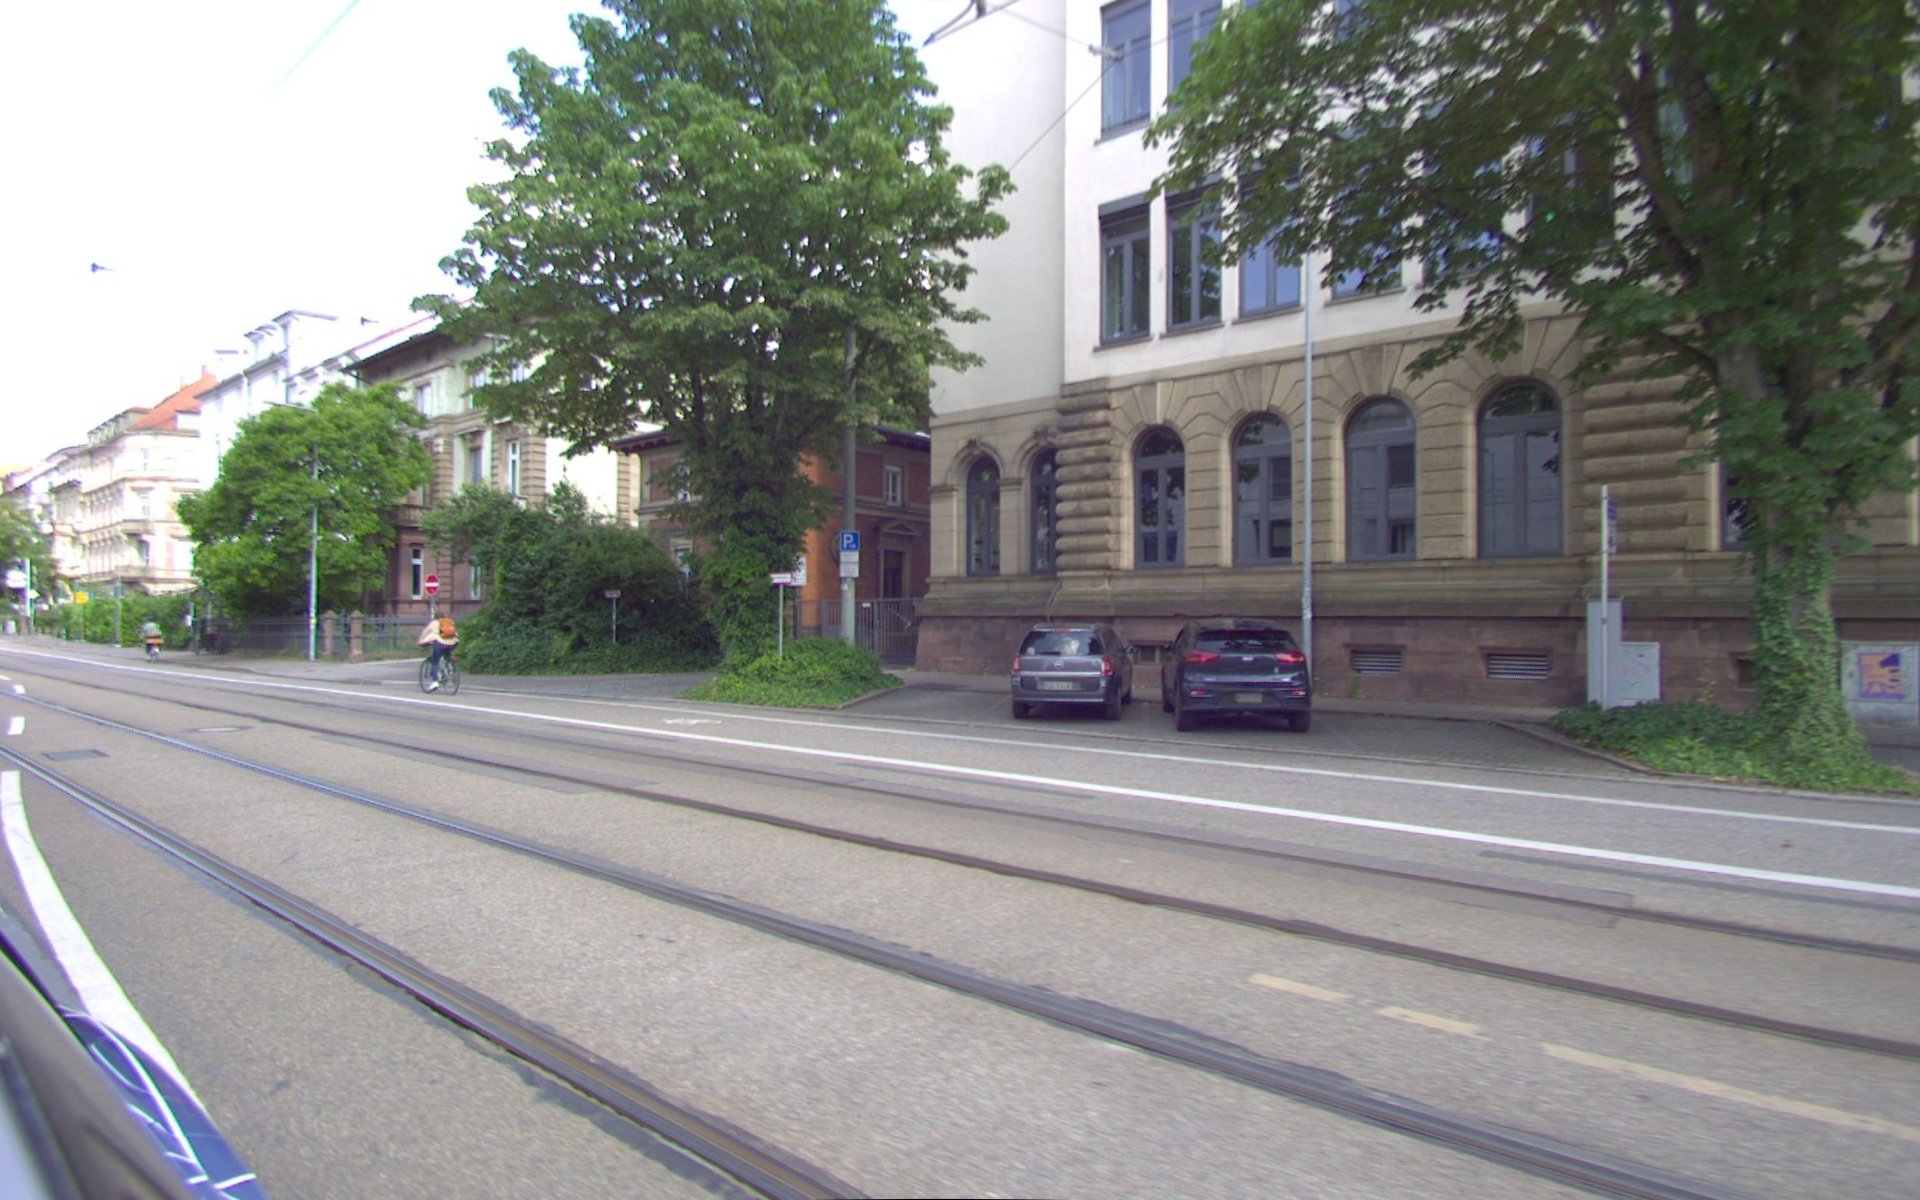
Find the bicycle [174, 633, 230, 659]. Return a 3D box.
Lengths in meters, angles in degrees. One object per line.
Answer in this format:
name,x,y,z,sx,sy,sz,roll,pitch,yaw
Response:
bicycle,-30.830,1.862,41.161,2.986,0.915,1.131,-1,1,40

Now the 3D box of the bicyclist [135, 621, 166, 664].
bicyclist,-29.708,1.566,37.133,0.882,1.504,0.593,-2,-8,42

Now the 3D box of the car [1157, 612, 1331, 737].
car,4.038,0.988,15.092,1.905,1.562,4.231,-1,-1,8

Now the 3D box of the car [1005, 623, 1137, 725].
car,1.955,1.112,16.714,1.775,1.458,4.225,0,-1,12

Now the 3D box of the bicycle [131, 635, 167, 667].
bicycle,-29.782,1.854,37.156,2.022,1.105,0.596,-2,-8,42

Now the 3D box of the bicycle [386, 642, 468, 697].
bicycle,-10.671,1.371,20.240,1.816,1.025,0.692,-1,-3,36

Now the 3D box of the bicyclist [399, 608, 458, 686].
bicyclist,-10.627,0.936,20.230,0.866,1.531,0.684,-1,-3,36
